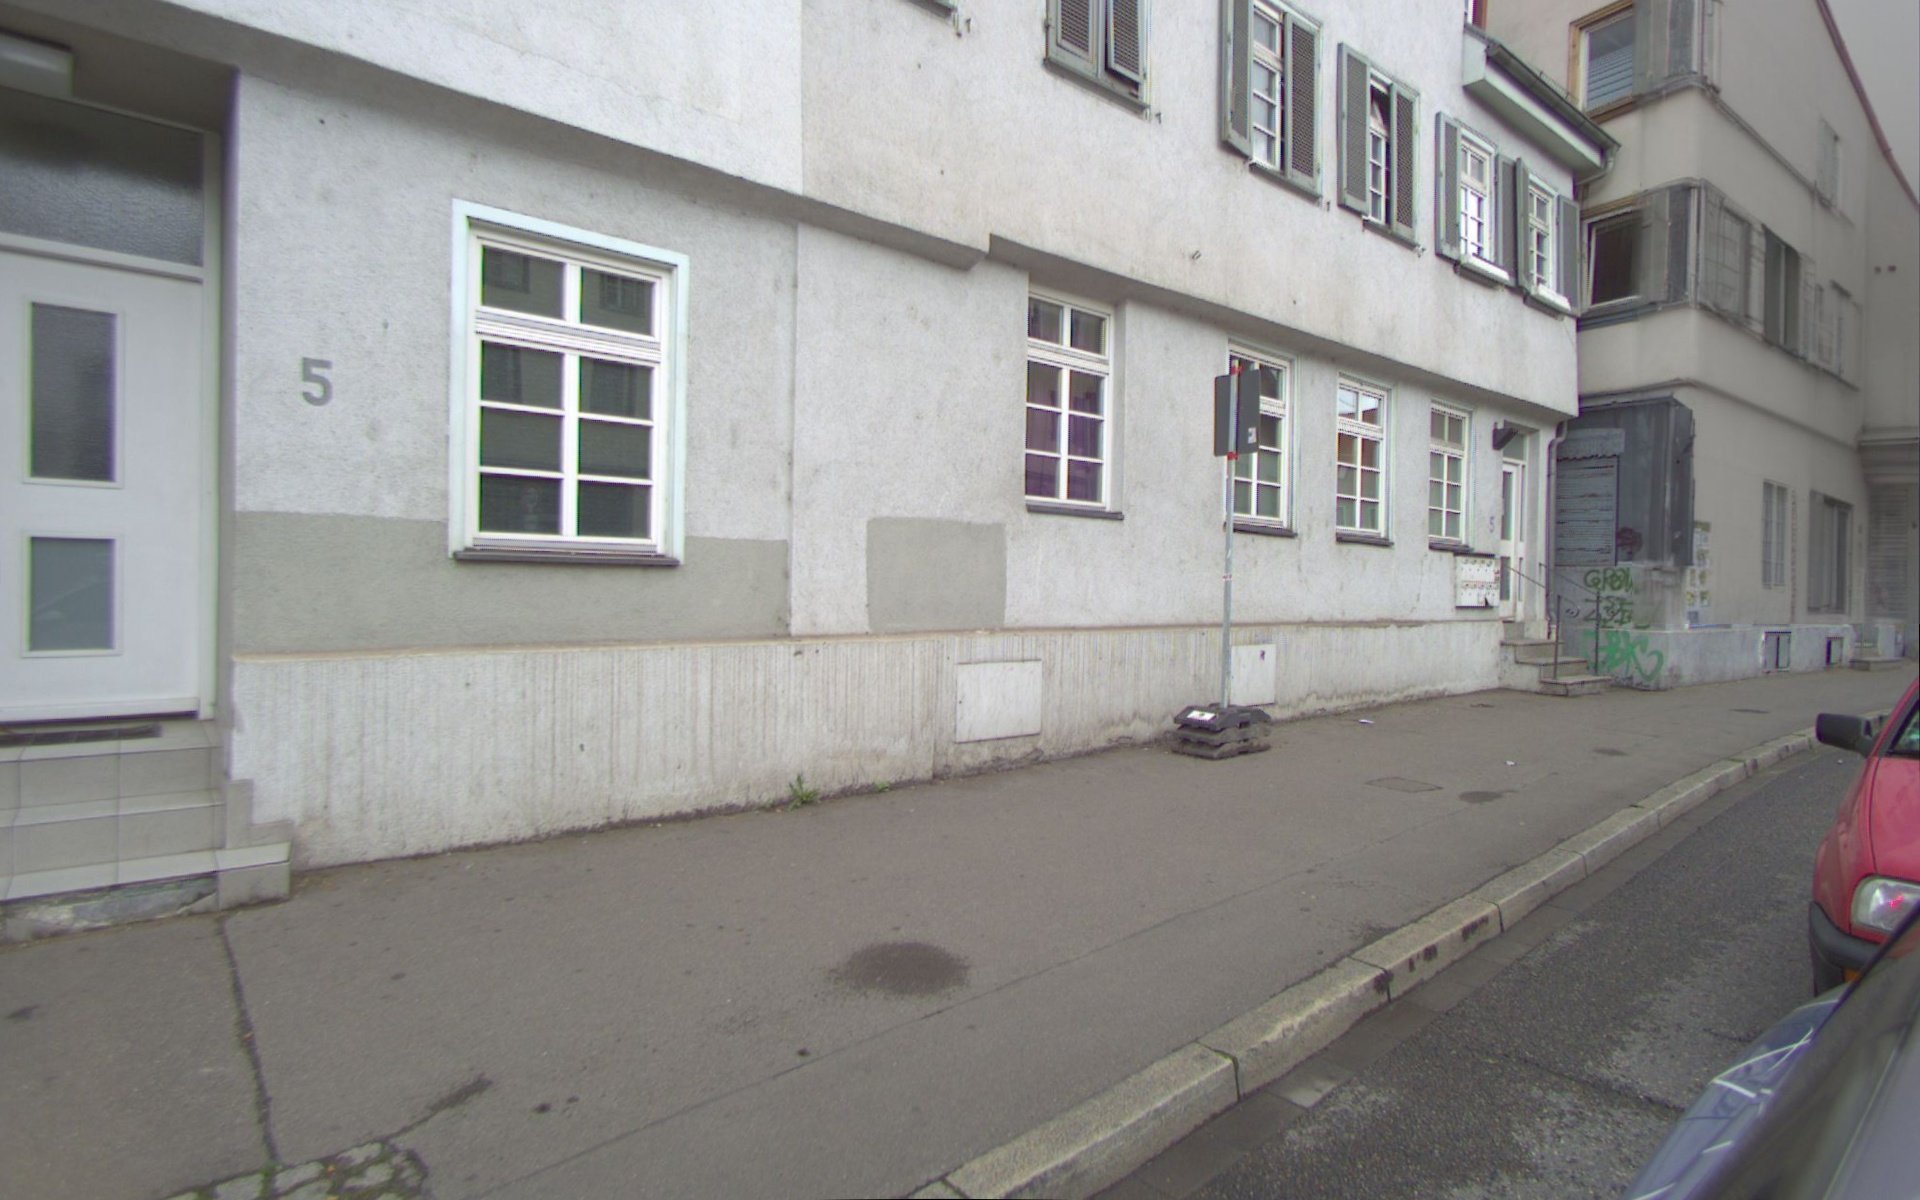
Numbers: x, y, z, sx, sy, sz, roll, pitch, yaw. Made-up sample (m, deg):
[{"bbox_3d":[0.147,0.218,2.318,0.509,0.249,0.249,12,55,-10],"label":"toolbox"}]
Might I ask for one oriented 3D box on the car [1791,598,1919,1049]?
[{"bbox_3d":[5.025,0.732,4.176,3.930,1.485,1.802,0,-2,-41],"label":"car"}]
